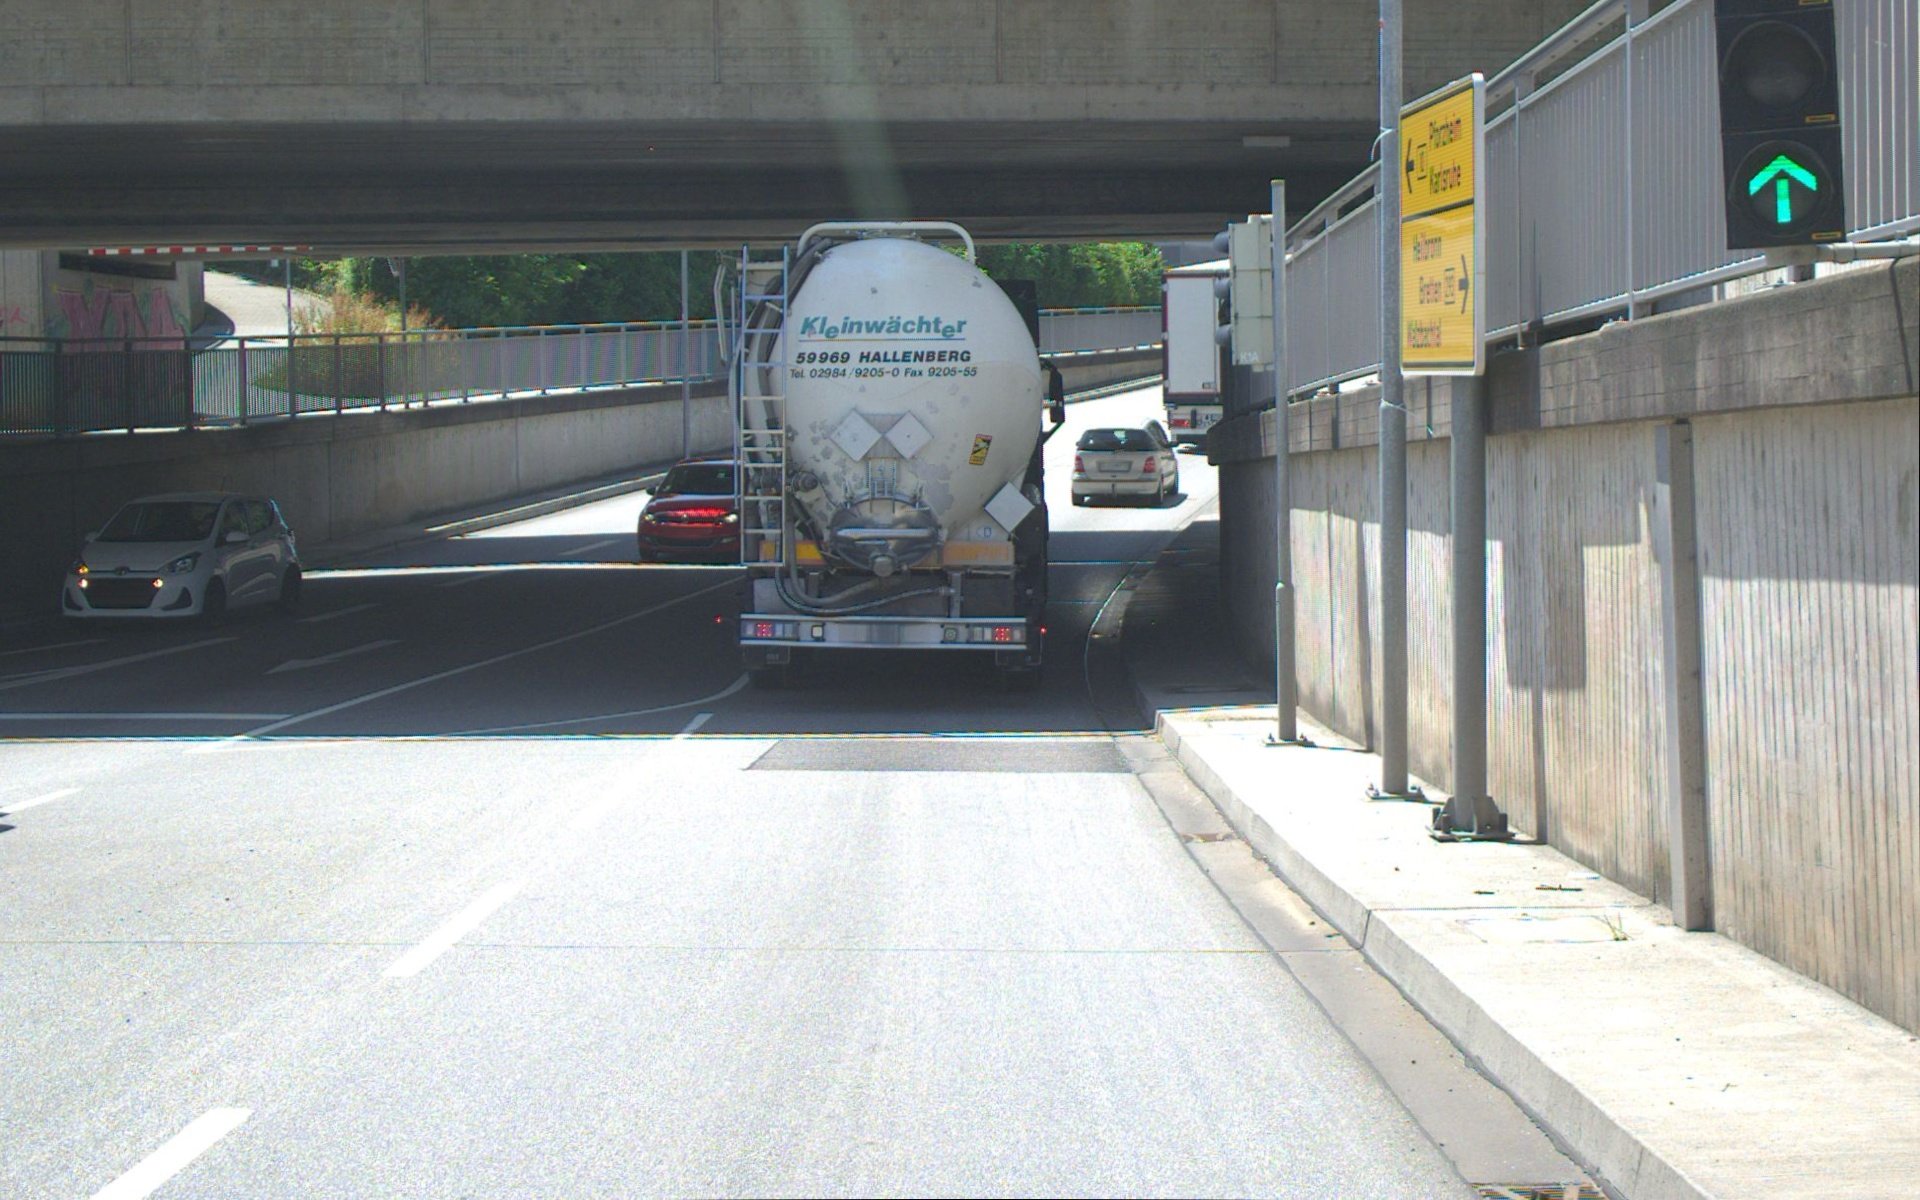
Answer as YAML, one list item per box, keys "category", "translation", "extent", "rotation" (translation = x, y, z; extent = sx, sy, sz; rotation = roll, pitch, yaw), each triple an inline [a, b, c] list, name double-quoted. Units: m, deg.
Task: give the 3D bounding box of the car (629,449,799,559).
- category: "car"
  translation: [-3.643, -1.469, 51.468]
  extent: [1.743, 1.459, 3.824]
  rotation: [1, 4, 8]

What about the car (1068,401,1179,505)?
- category: "car"
  translation: [3.051, -2.750, 63.692]
  extent: [1.882, 1.633, 4.001]
  rotation: [0, 6, 5]

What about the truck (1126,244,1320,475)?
- category: "truck"
  translation: [6.217, -5.672, 79.636]
  extent: [3.082, 4.981, 10.080]
  rotation: [1, 5, 12]

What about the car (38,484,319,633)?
- category: "car"
  translation: [-8.853, -0.514, 39.282]
  extent: [1.781, 1.461, 3.832]
  rotation: [-2, 3, 9]

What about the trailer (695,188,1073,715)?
- category: "trailer"
  translation: [-0.368, -1.430, 33.245]
  extent: [2.735, 4.050, 13.313]
  rotation: [0, 2, 3]

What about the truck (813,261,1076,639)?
- category: "truck"
  translation: [-0.055, -1.752, 40.274]
  extent: [2.735, 4.050, 6.529]
  rotation: [0, 2, 3]
